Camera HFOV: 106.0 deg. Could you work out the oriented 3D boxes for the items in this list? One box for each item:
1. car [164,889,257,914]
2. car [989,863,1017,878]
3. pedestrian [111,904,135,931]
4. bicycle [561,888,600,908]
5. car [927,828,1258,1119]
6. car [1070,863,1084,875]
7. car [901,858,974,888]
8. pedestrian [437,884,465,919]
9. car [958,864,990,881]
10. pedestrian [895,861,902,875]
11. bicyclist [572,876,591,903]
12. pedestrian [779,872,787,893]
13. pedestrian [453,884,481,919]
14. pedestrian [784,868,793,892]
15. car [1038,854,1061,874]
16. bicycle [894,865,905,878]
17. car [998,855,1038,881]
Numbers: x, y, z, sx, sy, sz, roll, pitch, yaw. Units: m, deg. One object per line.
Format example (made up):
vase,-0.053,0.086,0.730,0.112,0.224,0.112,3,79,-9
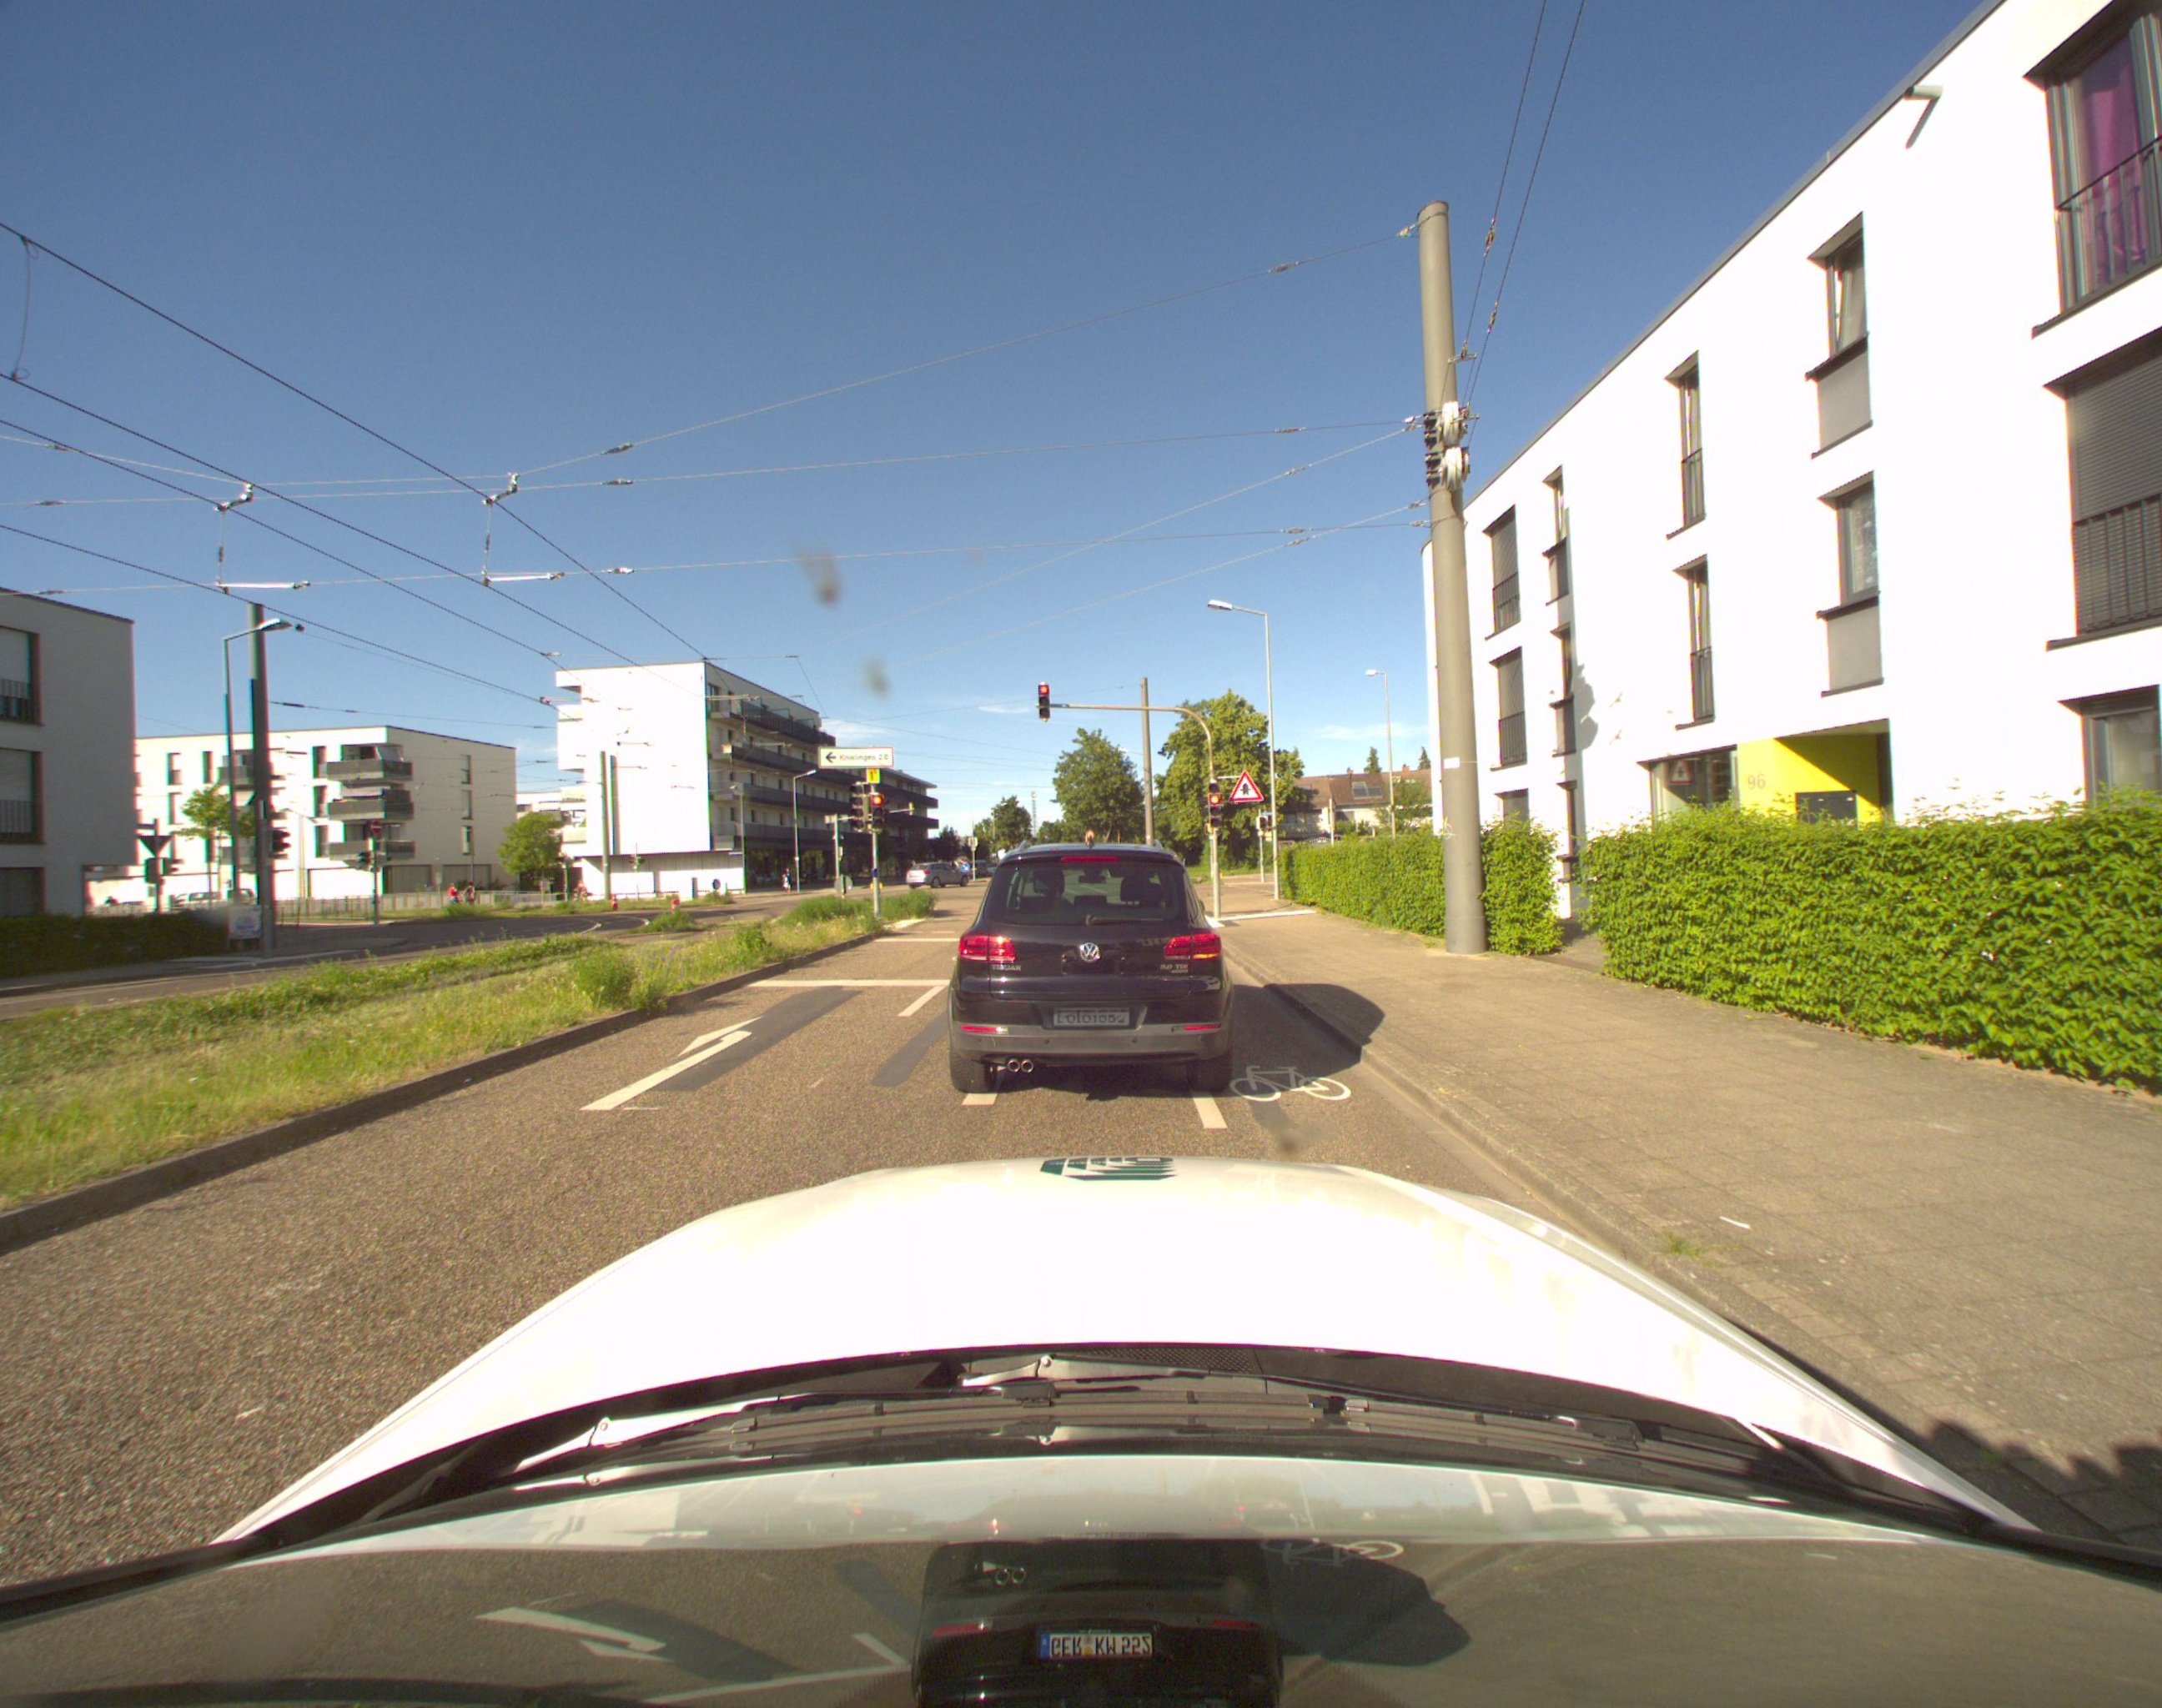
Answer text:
car,-58.985,3.185,55.224,4.305,1.574,2.002,0,-1,4
car,-8.403,1.819,88.501,1.981,1.574,4.350,-1,-1,9
pedestrian,-62.833,4.157,53.425,0.809,1.692,0.621,-3,-1,2
bicycle,-30.302,2.657,49.368,0.812,1.124,1.872,-1,-1,27
car,0.123,0.693,6.612,1.862,1.637,4.001,0,-1,2
car,-0.528,2.097,115.630,1.987,1.684,4.000,0,-1,0
car,-8.057,1.057,46.107,1.846,1.485,4.135,-3,0,29
pedestrian,-30.080,2.254,38.872,0.769,1.605,0.741,0,-1,-4
car,-10.692,1.819,81.812,1.981,1.574,4.350,-1,-1,9
pedestrian,-19.686,1.536,87.780,0.640,1.509,0.596,0,-1,3
bicyclist,-30.302,2.125,49.405,0.775,1.614,0.644,-1,-1,25
pedestrian,-21.418,2.032,58.513,0.440,1.503,0.517,0,-1,-4
pedestrian,-29.117,2.244,38.600,0.769,1.605,0.741,0,-1,-4
pedestrian,-21.211,1.903,59.062,0.542,1.744,0.517,0,-1,-4
car,-3.077,0.963,79.843,1.986,1.836,4.001,0,-1,1
bicycle,-19.660,1.895,88.129,0.627,1.332,1.914,0,-1,3
car,-4.441,0.983,57.790,1.852,1.720,3.697,-2,0,10
